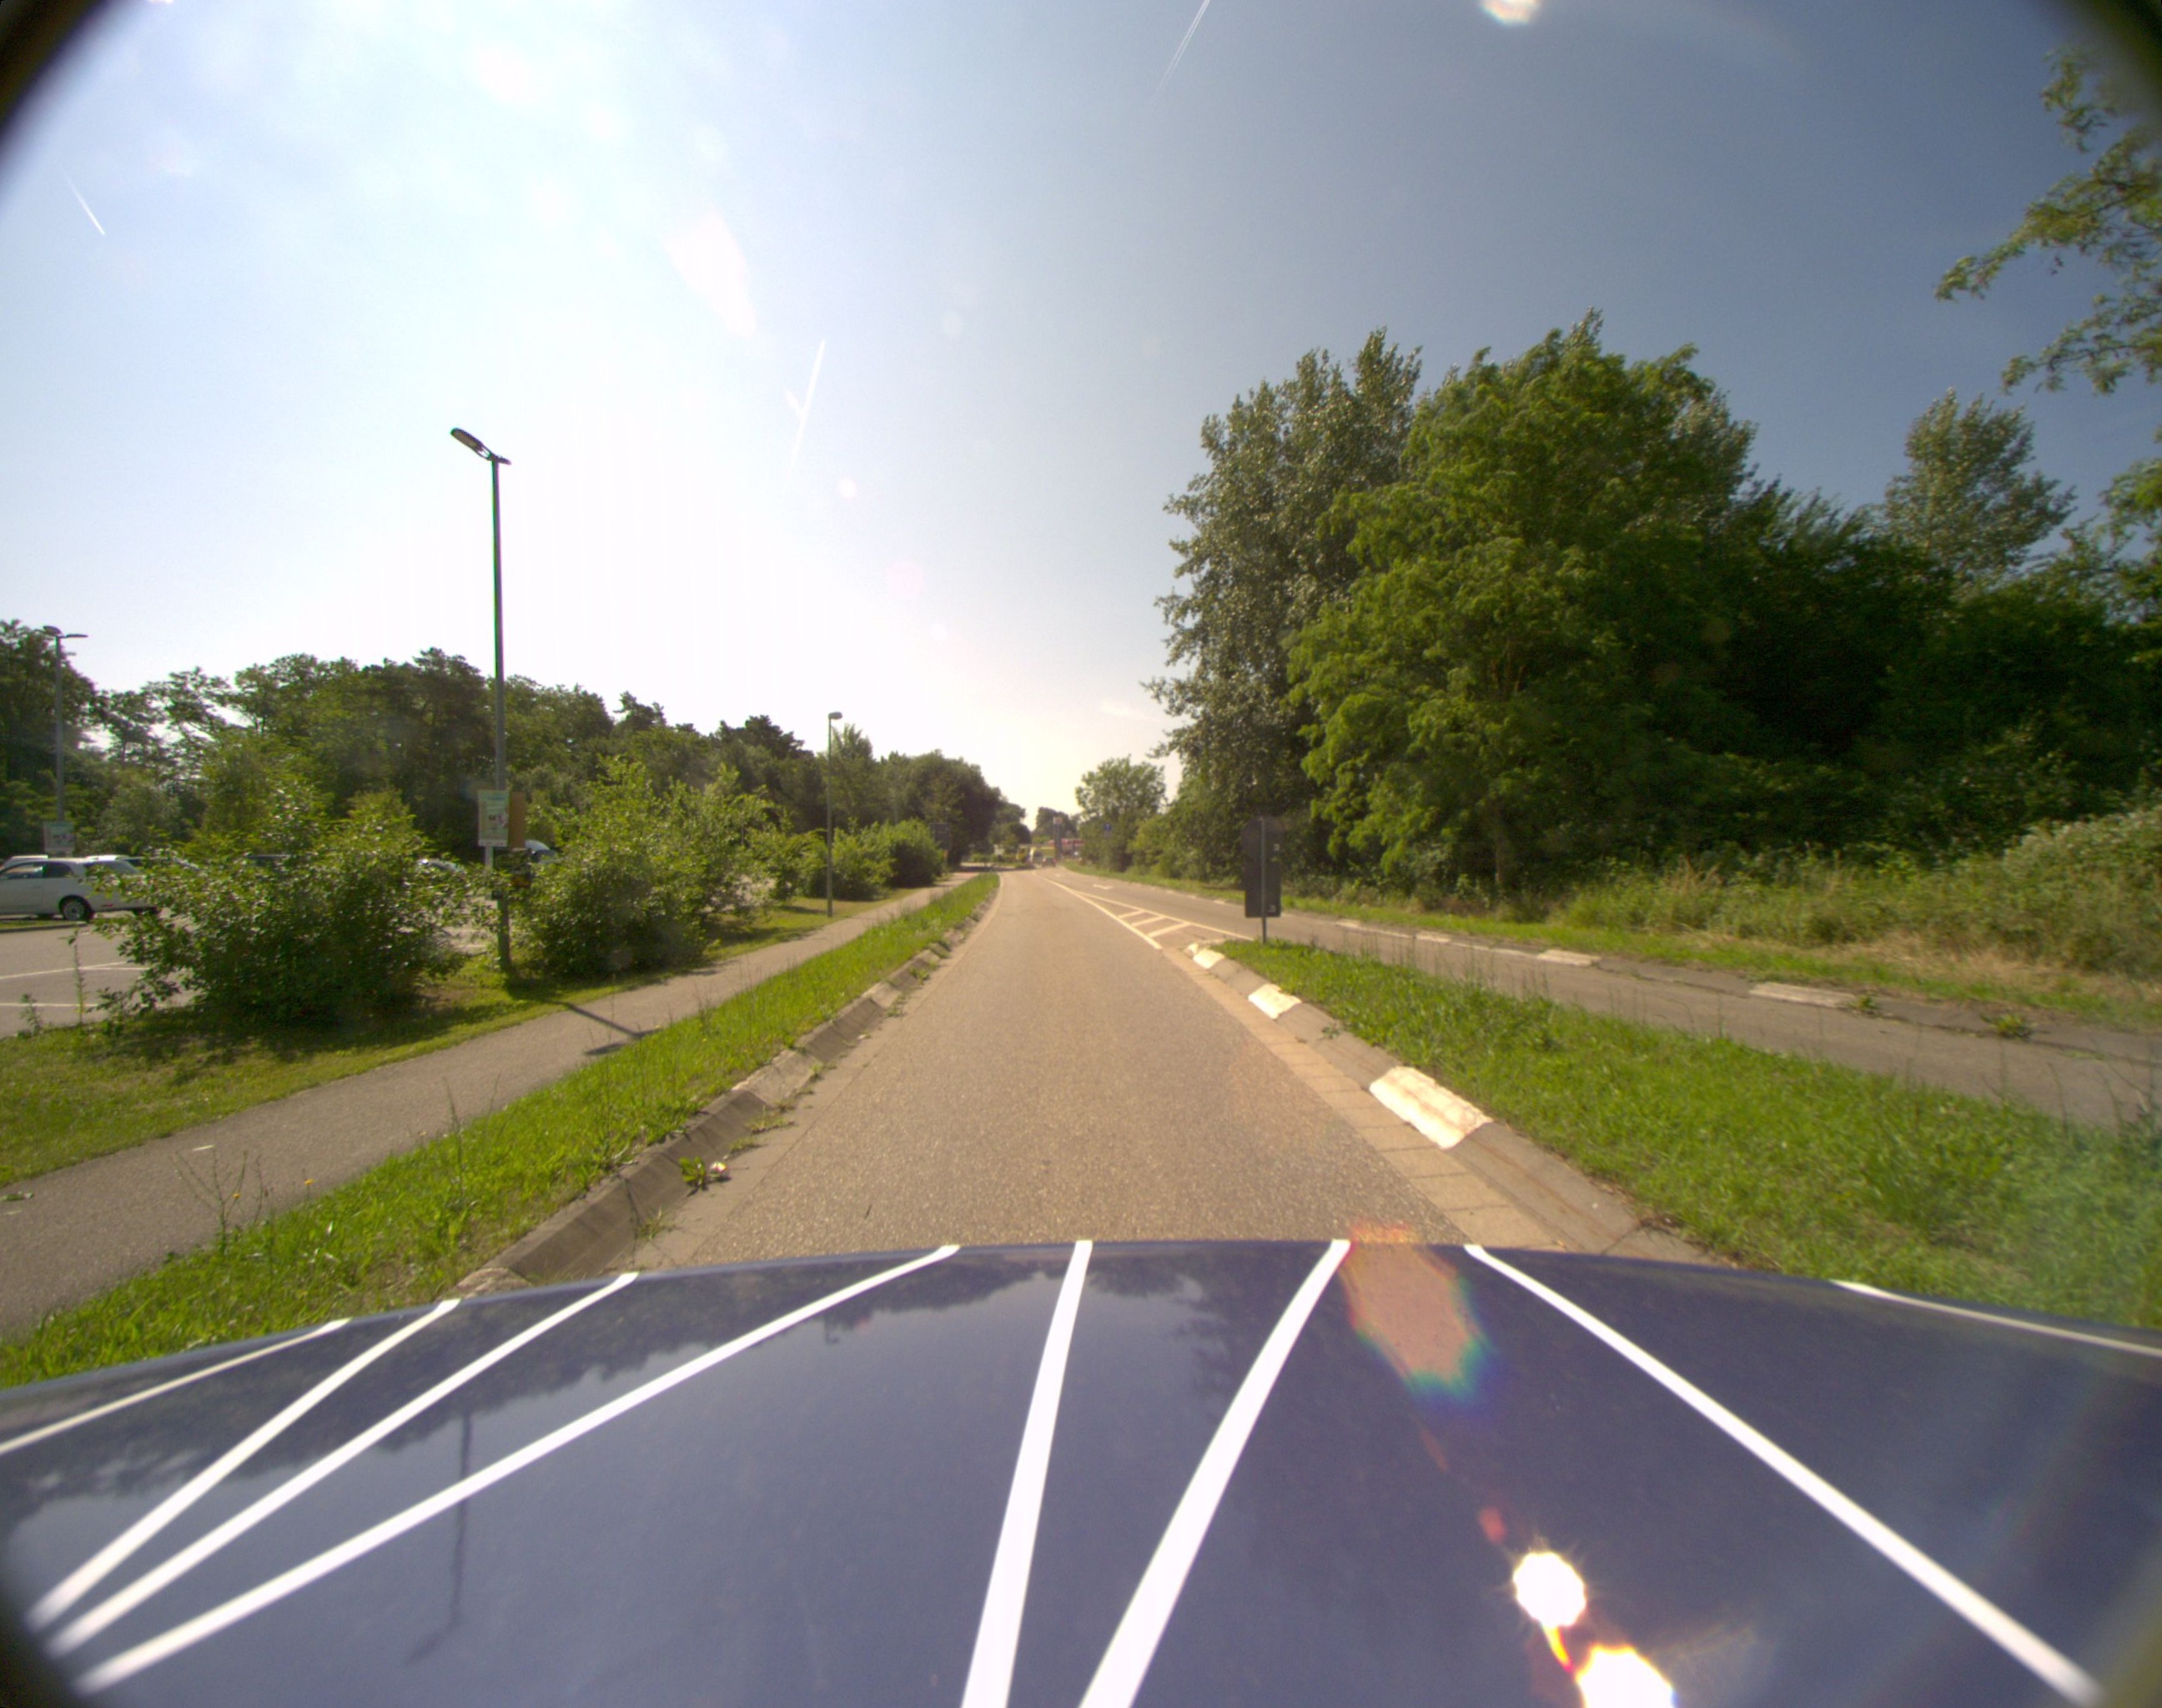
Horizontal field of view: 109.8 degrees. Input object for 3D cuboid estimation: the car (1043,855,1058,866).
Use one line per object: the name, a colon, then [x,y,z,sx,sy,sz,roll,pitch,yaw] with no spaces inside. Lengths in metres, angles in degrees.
car: [-4.009,0.894,99.687,1.704,1.381,4.291,0,0,-6]

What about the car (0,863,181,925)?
car: [-24.958,0.940,18.475,3.998,1.433,1.650,0,0,-3]

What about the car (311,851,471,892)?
car: [-25.298,0.615,28.008,4.001,1.419,1.747,0,0,-12]

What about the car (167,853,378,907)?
car: [-25.189,0.770,23.834,4.166,1.565,1.998,-1,0,-8]

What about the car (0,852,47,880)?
car: [-68.275,0.731,48.123,1.946,1.701,3.990,0,0,-31]

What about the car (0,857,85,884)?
car: [-65.909,1.021,48.277,1.799,1.586,4.249,0,0,-33]

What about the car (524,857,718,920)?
car: [-12.267,0.908,20.487,4.131,1.618,1.751,0,0,-5]

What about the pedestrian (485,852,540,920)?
pedestrian: [-15.279,0.844,20.430,0.821,1.787,0.866,0,0,-4]

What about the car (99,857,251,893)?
car: [-41.398,0.921,34.862,4.006,1.575,1.966,0,0,-28]

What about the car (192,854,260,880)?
car: [-59.767,0.904,53.189,2.075,1.701,3.990,-1,0,-31]

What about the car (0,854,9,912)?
car: [-33.563,0.946,20.694,4.567,1.692,1.995,-3,1,-32]

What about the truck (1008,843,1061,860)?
truck: [-9.352,-0.461,153.025,10.340,3.374,3.882,0,0,-8]

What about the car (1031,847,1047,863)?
car: [-6.610,0.188,119.652,1.918,2.386,4.905,0,0,-10]

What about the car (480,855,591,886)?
car: [-26.527,0.800,37.096,3.977,1.444,1.902,0,0,-15]
